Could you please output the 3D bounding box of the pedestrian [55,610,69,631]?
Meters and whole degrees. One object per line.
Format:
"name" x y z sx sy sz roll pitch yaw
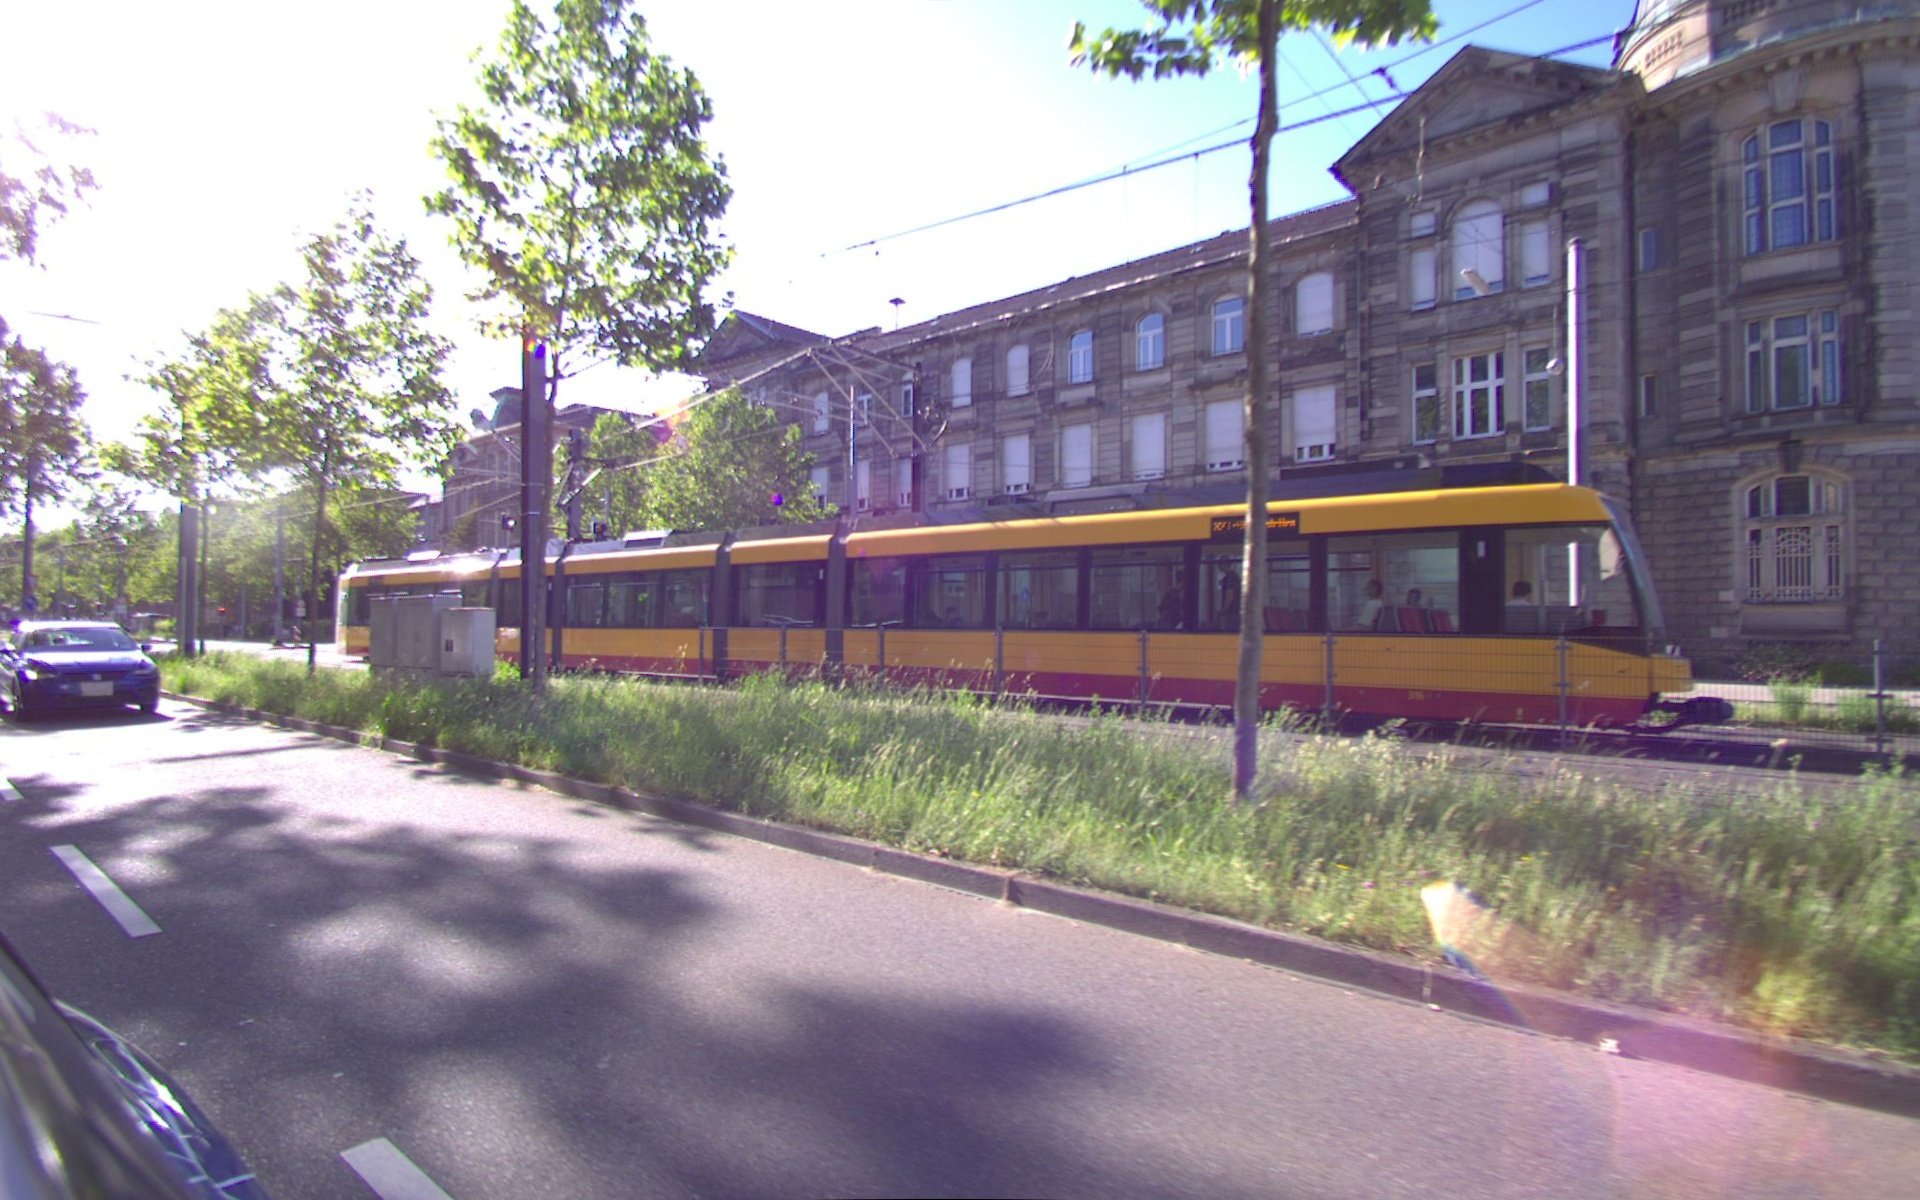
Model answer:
"pedestrian" -76.253 1.707 85.955 0.692 1.758 0.592 -1 0 9

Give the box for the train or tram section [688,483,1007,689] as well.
"train or tram section" -2.374 -0.203 20.297 6.052 3.510 2.928 -1 -1 38

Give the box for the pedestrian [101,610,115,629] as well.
"pedestrian" -71.696 1.629 85.174 0.692 1.633 0.592 -1 0 9

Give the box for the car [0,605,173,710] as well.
"car" -14.230 0.835 16.246 3.866 1.459 1.755 -1 0 40

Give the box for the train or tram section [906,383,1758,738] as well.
"train or tram section" 4.386 -0.328 14.715 11.274 3.510 2.932 -1 -1 39

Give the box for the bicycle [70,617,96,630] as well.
"bicycle" -72.005 1.923 83.075 0.538 1.049 1.658 0 0 10

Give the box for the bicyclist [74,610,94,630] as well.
"bicyclist" -71.890 1.635 83.053 0.826 1.656 0.966 -1 0 9

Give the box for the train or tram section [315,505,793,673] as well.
"train or tram section" -12.959 -0.104 29.004 21.196 3.510 2.934 -1 -1 39

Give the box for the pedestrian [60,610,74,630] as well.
"pedestrian" -75.396 1.700 85.448 0.692 1.689 0.592 -1 0 9
